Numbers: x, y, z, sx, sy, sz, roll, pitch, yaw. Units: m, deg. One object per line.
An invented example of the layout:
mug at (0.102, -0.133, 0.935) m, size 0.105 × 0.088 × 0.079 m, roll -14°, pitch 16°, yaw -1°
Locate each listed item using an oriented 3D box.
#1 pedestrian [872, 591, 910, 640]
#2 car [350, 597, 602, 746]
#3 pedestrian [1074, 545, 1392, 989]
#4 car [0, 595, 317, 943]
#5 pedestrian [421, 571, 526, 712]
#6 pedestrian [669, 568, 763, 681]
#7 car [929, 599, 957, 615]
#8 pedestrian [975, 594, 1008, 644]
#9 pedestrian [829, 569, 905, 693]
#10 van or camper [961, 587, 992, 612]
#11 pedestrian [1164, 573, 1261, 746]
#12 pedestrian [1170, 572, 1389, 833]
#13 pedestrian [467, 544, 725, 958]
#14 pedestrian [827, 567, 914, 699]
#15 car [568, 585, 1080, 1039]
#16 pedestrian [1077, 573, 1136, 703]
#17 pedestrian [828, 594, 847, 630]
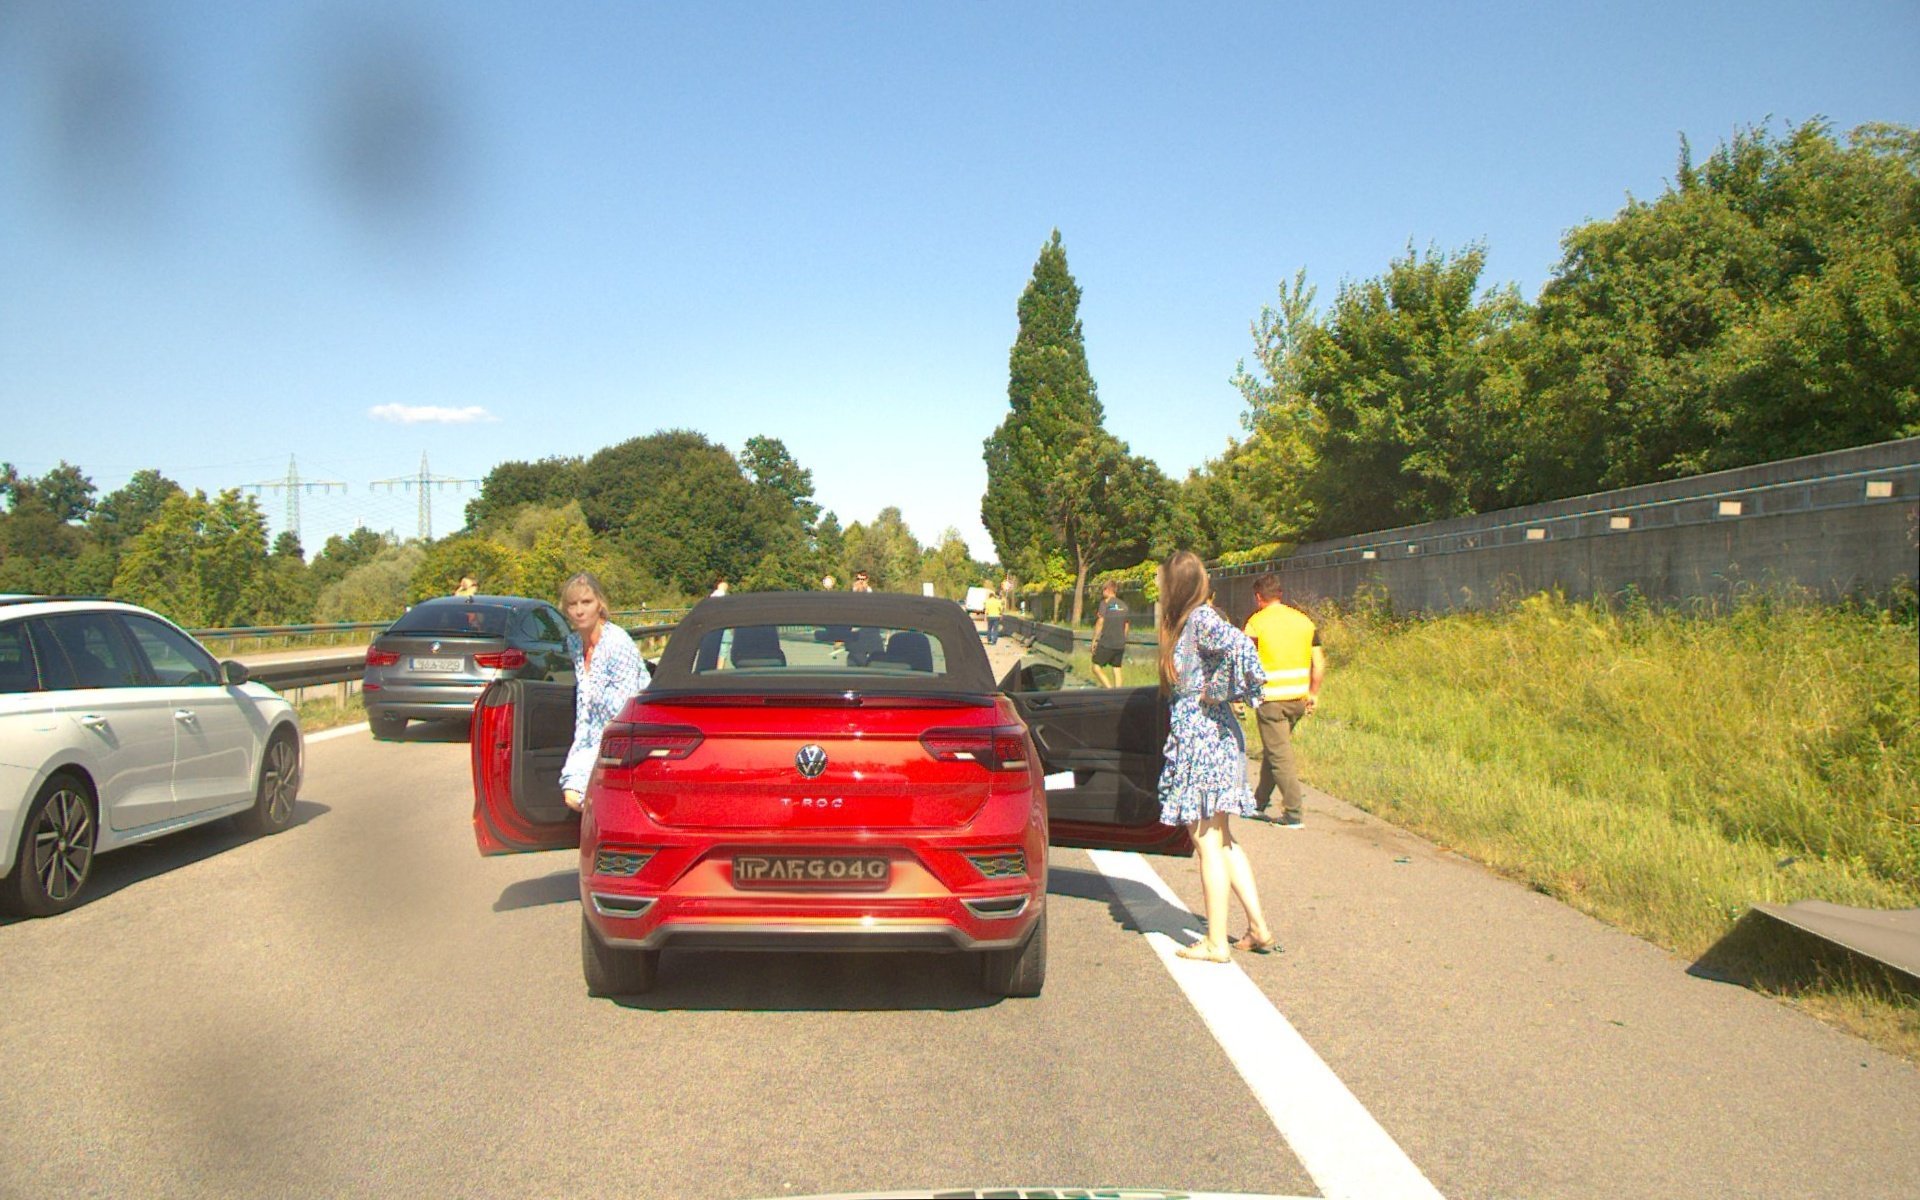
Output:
pedestrian at (-2.467, 0.553, 59.143) m, size 1.090 × 1.719 × 0.974 m, roll 1°, pitch -1°, yaw 15°
car at (-5.235, 0.704, 18.473) m, size 1.660 × 1.451 × 4.332 m, roll 1°, pitch 0°, yaw -2°
pedestrian at (1.116, 0.650, 6.982) m, size 1.103 × 1.725 × 0.891 m, roll -1°, pitch 0°, yaw -7°
car at (-4.974, 0.716, 8.685) m, size 1.660 × 1.467 × 4.208 m, roll 1°, pitch 0°, yaw -2°
pedestrian at (-6.408, 0.533, 21.857) m, size 1.019 × 1.794 × 1.118 m, roll -1°, pitch 0°, yaw 1°
pedestrian at (-4.049, 0.405, 27.440) m, size 1.087 × 1.820 × 1.085 m, roll 0°, pitch -1°, yaw 41°
car at (-1.653, 0.661, 161.020) m, size 1.695 × 1.513 × 4.213 m, roll 1°, pitch 0°, yaw 14°
pedestrian at (1.101, 0.657, 57.592) m, size 1.033 × 1.719 × 1.018 m, roll 1°, pitch -1°, yaw 5°
pedestrian at (-1.518, 0.489, 26.767) m, size 1.085 × 1.946 × 1.254 m, roll -1°, pitch 0°, yaw -10°
van or camper at (1.604, -0.043, 159.963) m, size 1.951 × 2.356 × 4.473 m, roll 1°, pitch 0°, yaw 14°
pedestrian at (2.614, 0.607, 17.195) m, size 0.876 × 1.755 × 0.754 m, roll 1°, pitch -1°, yaw -1°
pedestrian at (2.186, 0.662, 11.467) m, size 0.944 × 1.682 × 1.269 m, roll -1°, pitch 0°, yaw -22°
pedestrian at (-1.606, 0.624, 7.351) m, size 0.823 × 1.712 × 0.743 m, roll -1°, pitch 0°, yaw 27°
pedestrian at (-1.325, 0.482, 24.677) m, size 1.042 × 1.916 × 1.094 m, roll -1°, pitch 0°, yaw 11°
car at (-0.524, 0.714, 7.667) m, size 1.697 × 1.513 × 4.208 m, roll 1°, pitch 0°, yaw -2°
pedestrian at (2.078, 0.524, 23.355) m, size 0.794 × 1.790 × 0.828 m, roll 1°, pitch -1°, yaw 6°
pedestrian at (-5.976, 0.574, 80.651) m, size 0.775 × 1.719 × 0.792 m, roll 1°, pitch -1°, yaw 3°
